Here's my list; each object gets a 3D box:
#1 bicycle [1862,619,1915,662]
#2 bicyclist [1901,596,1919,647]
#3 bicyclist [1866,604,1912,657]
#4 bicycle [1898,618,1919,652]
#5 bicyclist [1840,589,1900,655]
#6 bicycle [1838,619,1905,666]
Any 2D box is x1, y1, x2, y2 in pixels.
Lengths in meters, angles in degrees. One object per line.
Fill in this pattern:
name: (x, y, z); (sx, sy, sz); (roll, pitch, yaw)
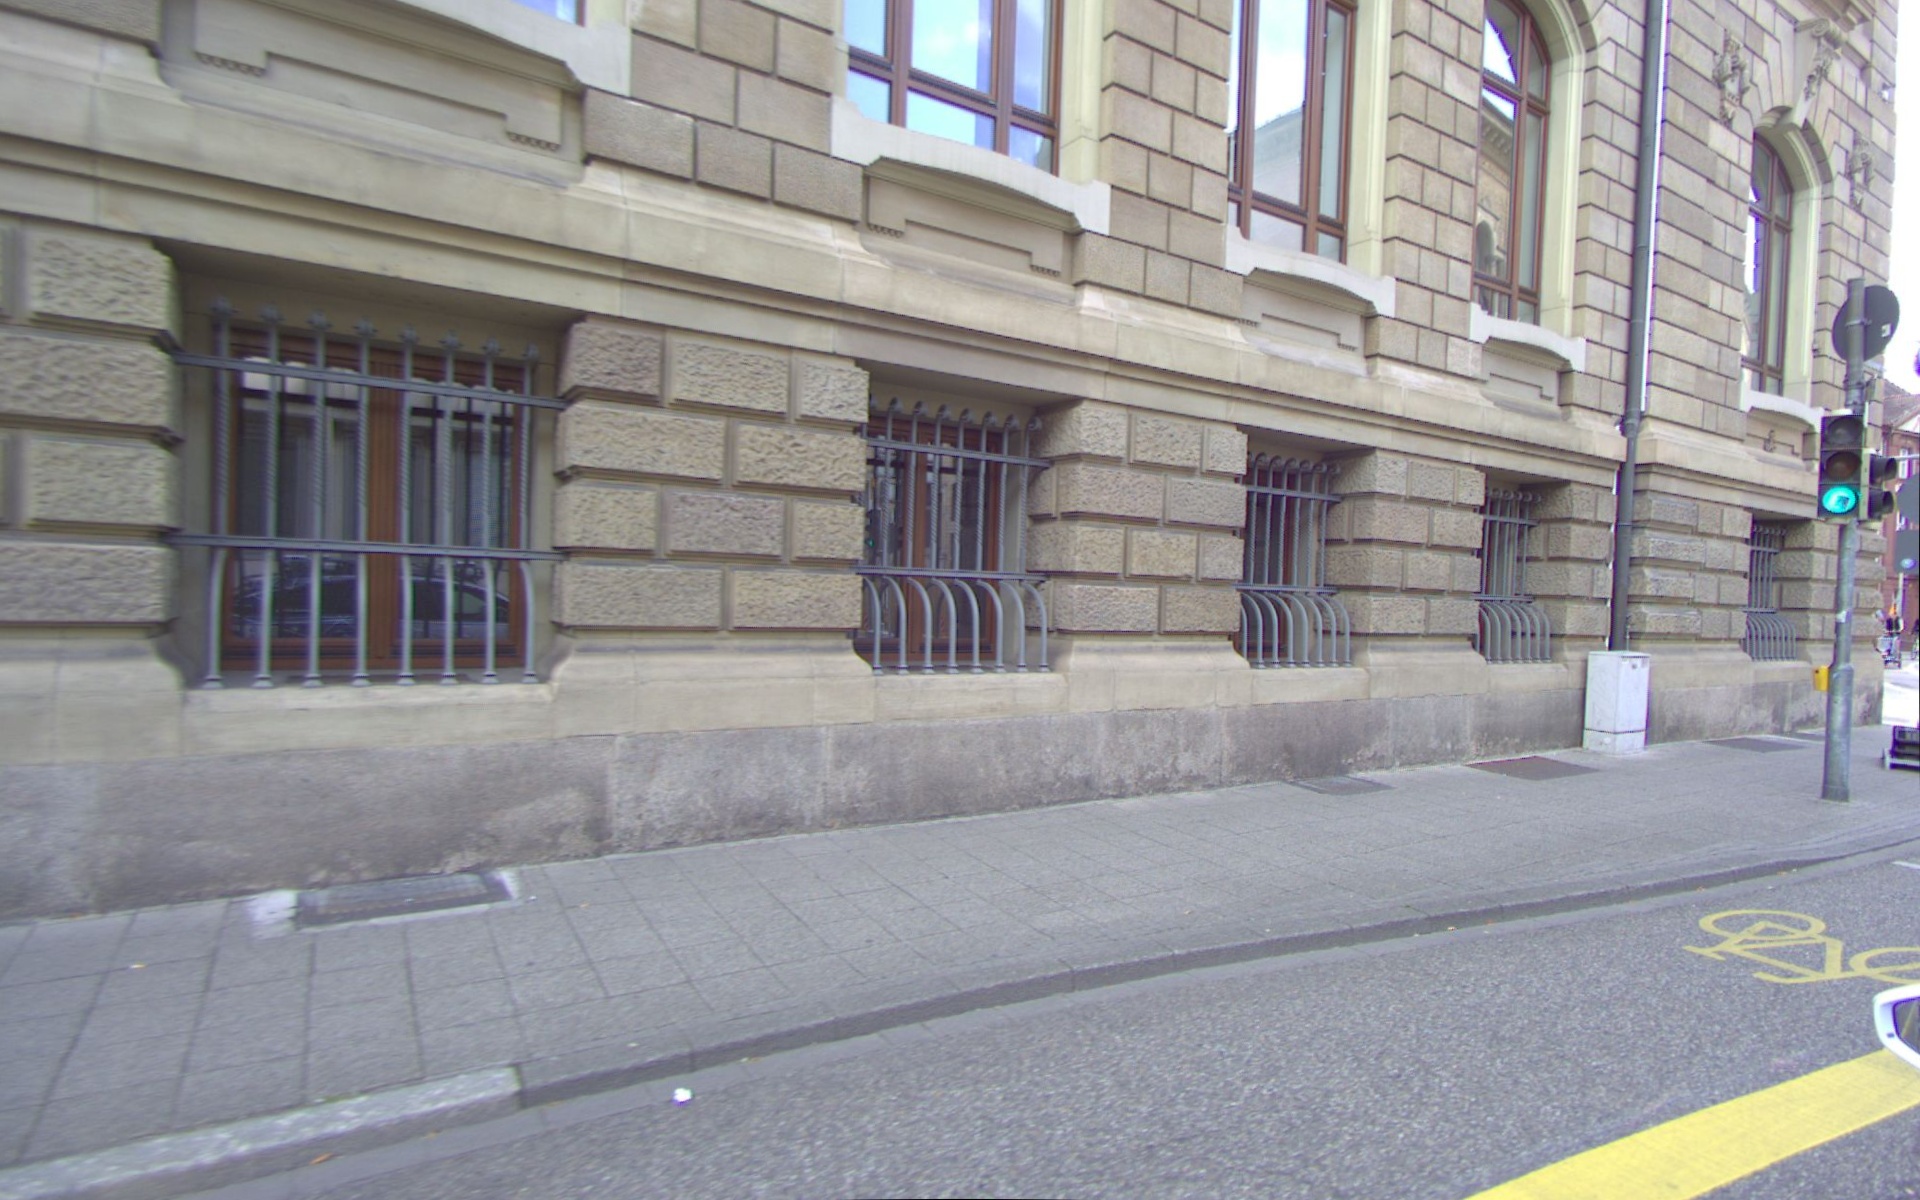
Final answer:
bicycle: (29.294, 1.272, 31.687); (2.521, 1.272, 0.918); (2, 0, -41)
bicyclist: (37.784, 0.855, 39.555); (1.097, 1.989, 0.918); (2, 0, -40)
bicyclist: (29.381, 0.963, 31.757); (1.055, 1.630, 0.918); (2, 0, -40)
bicycle: (37.847, 1.390, 39.631); (2.521, 1.272, 0.918); (2, 0, -41)
bicyclist: (26.410, 0.631, 29.151); (1.354, 1.848, 1.082); (2, 0, -40)
bicycle: (26.645, 1.231, 29.340); (3.016, 1.272, 1.047); (2, 0, -41)
